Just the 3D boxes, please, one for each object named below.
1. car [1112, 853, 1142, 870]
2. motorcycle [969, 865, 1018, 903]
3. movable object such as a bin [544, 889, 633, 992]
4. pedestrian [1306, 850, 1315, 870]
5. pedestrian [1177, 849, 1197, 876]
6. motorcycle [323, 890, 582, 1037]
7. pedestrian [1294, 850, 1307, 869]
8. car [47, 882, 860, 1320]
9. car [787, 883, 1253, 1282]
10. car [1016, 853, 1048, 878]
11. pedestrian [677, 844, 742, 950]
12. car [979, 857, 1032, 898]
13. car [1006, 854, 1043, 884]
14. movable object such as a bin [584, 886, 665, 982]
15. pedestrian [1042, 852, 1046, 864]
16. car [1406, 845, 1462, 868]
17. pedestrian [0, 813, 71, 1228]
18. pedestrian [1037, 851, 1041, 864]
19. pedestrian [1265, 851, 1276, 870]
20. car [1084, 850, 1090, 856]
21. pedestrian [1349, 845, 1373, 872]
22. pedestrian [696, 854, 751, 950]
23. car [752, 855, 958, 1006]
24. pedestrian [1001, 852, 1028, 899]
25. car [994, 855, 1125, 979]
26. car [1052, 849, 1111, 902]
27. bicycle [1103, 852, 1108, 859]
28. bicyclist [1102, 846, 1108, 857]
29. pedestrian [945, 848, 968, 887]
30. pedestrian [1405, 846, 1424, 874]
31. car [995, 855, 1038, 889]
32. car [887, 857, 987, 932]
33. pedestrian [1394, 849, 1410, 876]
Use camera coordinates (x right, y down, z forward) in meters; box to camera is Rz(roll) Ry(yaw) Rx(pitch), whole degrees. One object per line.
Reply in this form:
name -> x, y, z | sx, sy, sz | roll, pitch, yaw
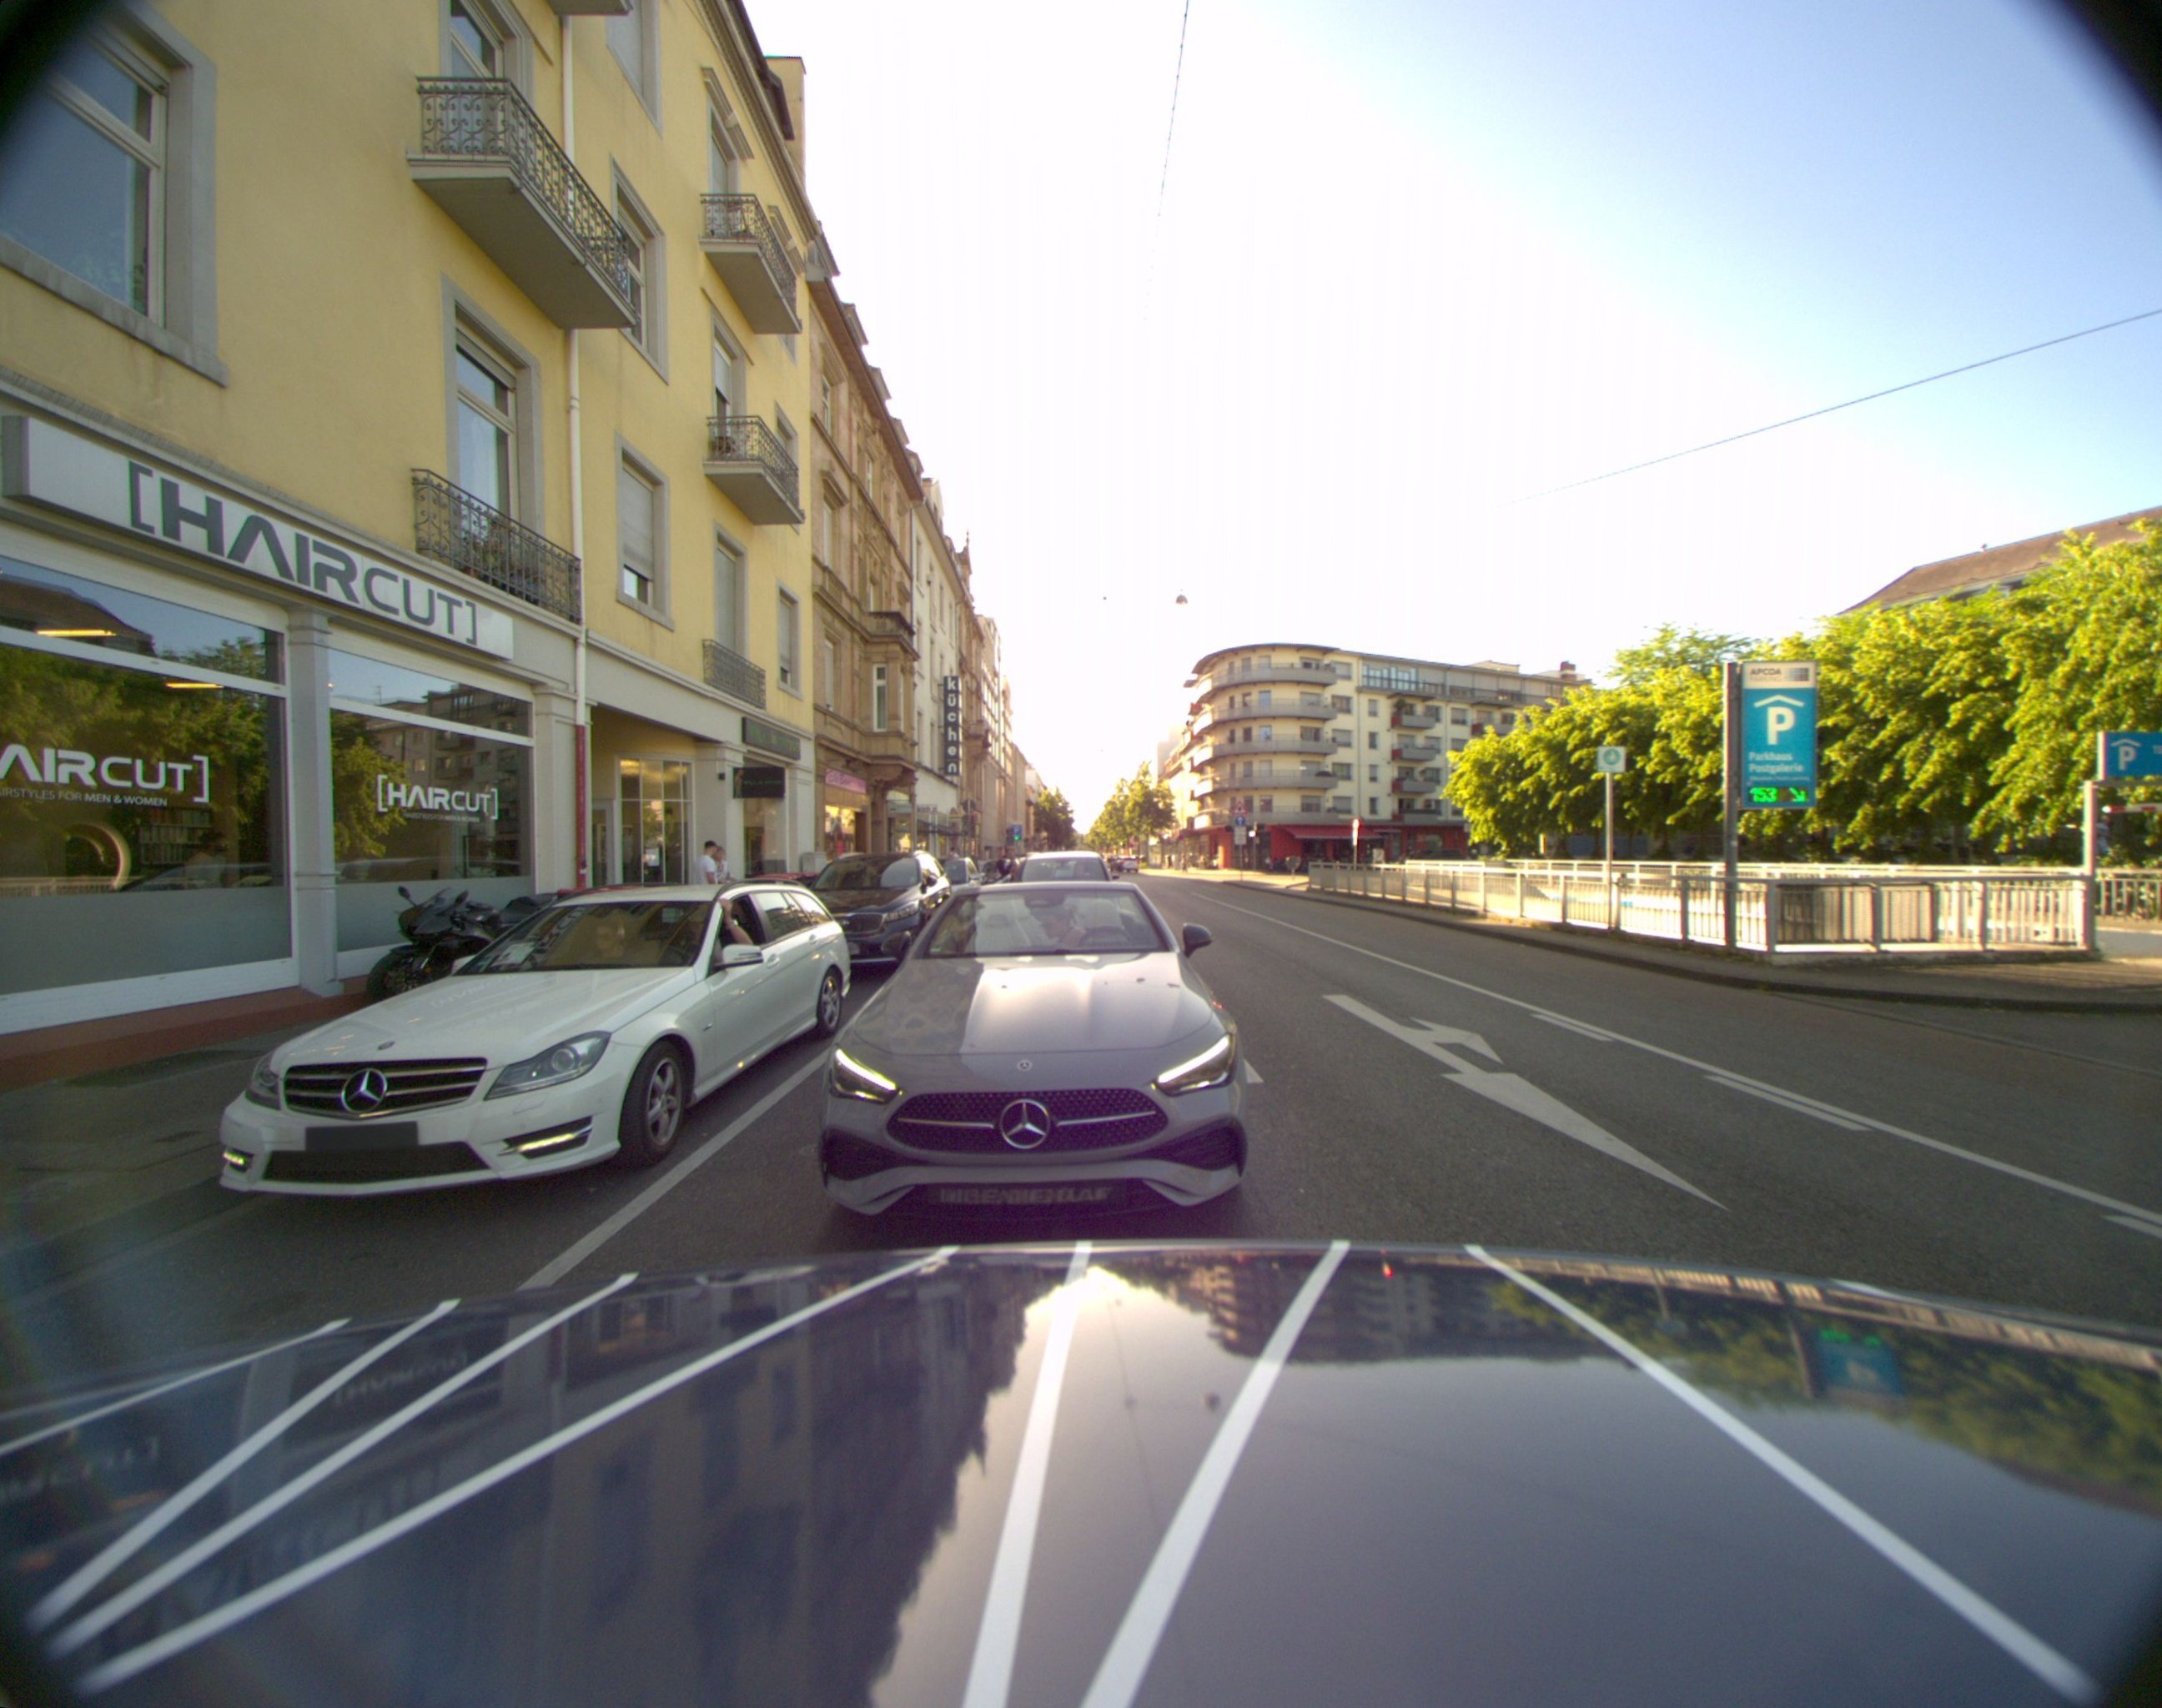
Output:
car -> 3.991, 0.618, 66.808 | 1.803, 1.426, 4.247 | -1, 0, -9
motorcycle -> -3.063, 1.042, 26.766 | 0.769, 1.225, 1.546 | -1, 1, 42
movable object such as a bin -> -6.114, 1.057, 9.467 | 0.647, 1.200, 0.644 | -1, 1, 1
pedestrian -> 17.944, 0.457, 59.479 | 0.581, 1.481, 0.793 | -1, 1, 13
pedestrian -> 8.098, 0.646, 57.970 | 1.018, 2.002, 1.202 | -1, 1, 39
motorcycle -> -6.267, 1.017, 7.805 | 0.773, 1.158, 2.247 | 1, 0, 1
pedestrian -> 17.683, 0.435, 61.133 | 0.583, 1.453, 0.790 | -2, 1, -37
car -> -3.077, 1.038, 5.229 | 1.759, 1.453, 4.597 | -1, 0, 0
car -> -0.263, 1.011, 5.216 | 1.849, 1.371, 4.255 | -2, 0, -1
car -> -3.030, 0.686, 47.572 | 1.715, 1.477, 4.062 | -1, 0, 0
pedestrian -> -5.856, 0.663, 12.016 | 0.642, 1.607, 0.701 | -1, 1, -1
car -> -2.994, 0.897, 30.707 | 1.715, 1.477, 3.999 | -1, 0, 0
car -> -2.988, 0.757, 40.977 | 1.715, 1.477, 3.999 | -1, 0, 0
movable object such as a bin -> -6.064, 1.048, 10.119 | 0.647, 1.200, 0.644 | -1, 1, 1
pedestrian -> -5.475, 0.569, 111.791 | 0.466, 1.769, 0.569 | -1, 1, 3
car -> 29.027, 0.170, 62.431 | 4.004, 1.740, 1.996 | -2, 1, -23
pedestrian -> -5.076, 0.704, 3.005 | 0.865, 1.774, 1.009 | 2, 1, 9
pedestrian -> -6.124, 0.532, 111.975 | 0.527, 1.875, 0.569 | -1, 1, 0
pedestrian -> 15.046, 0.496, 60.250 | 0.791, 1.452, 0.583 | -1, 1, 10
car -> 2.082, -0.227, 250.342 | 1.998, 1.805, 4.000 | -1, 0, 1
pedestrian -> 21.838, 0.334, 59.247 | 1.234, 2.002, 1.259 | -2, 1, -21
pedestrian -> -6.138, 0.805, 13.072 | 0.572, 1.607, 0.643 | -1, 1, 2
car -> -3.006, 0.888, 11.210 | 1.858, 1.688, 4.697 | -1, 0, -4
pedestrian -> -2.376, 0.767, 27.149 | 0.692, 1.657, 0.835 | -1, 1, 14
car -> -0.256, 0.844, 12.156 | 1.716, 1.599, 4.000 | -1, 0, 1
car -> 0.042, 0.718, 27.446 | 1.952, 1.742, 4.000 | -1, 0, 1
bicycle -> 3.738, 0.197, 118.130 | 0.661, 1.083, 1.970 | -1, 0, -1
bicyclist -> 3.734, -0.443, 118.113 | 0.758, 1.651, 1.143 | -2, 1, -1
pedestrian -> -5.164, 0.557, 31.519 | 0.795, 1.607, 0.763 | -1, 1, -1
pedestrian -> 21.461, 0.399, 48.887 | 0.755, 1.795, 0.756 | -2, 1, -15
car -> -3.056, 0.807, 36.459 | 1.715, 1.477, 3.999 | -1, 0, 0
car -> -3.293, 0.888, 17.939 | 1.696, 1.559, 3.018 | -1, 0, 1
pedestrian -> 20.633, 0.527, 48.842 | 0.674, 1.696, 0.699 | -2, 1, -7
